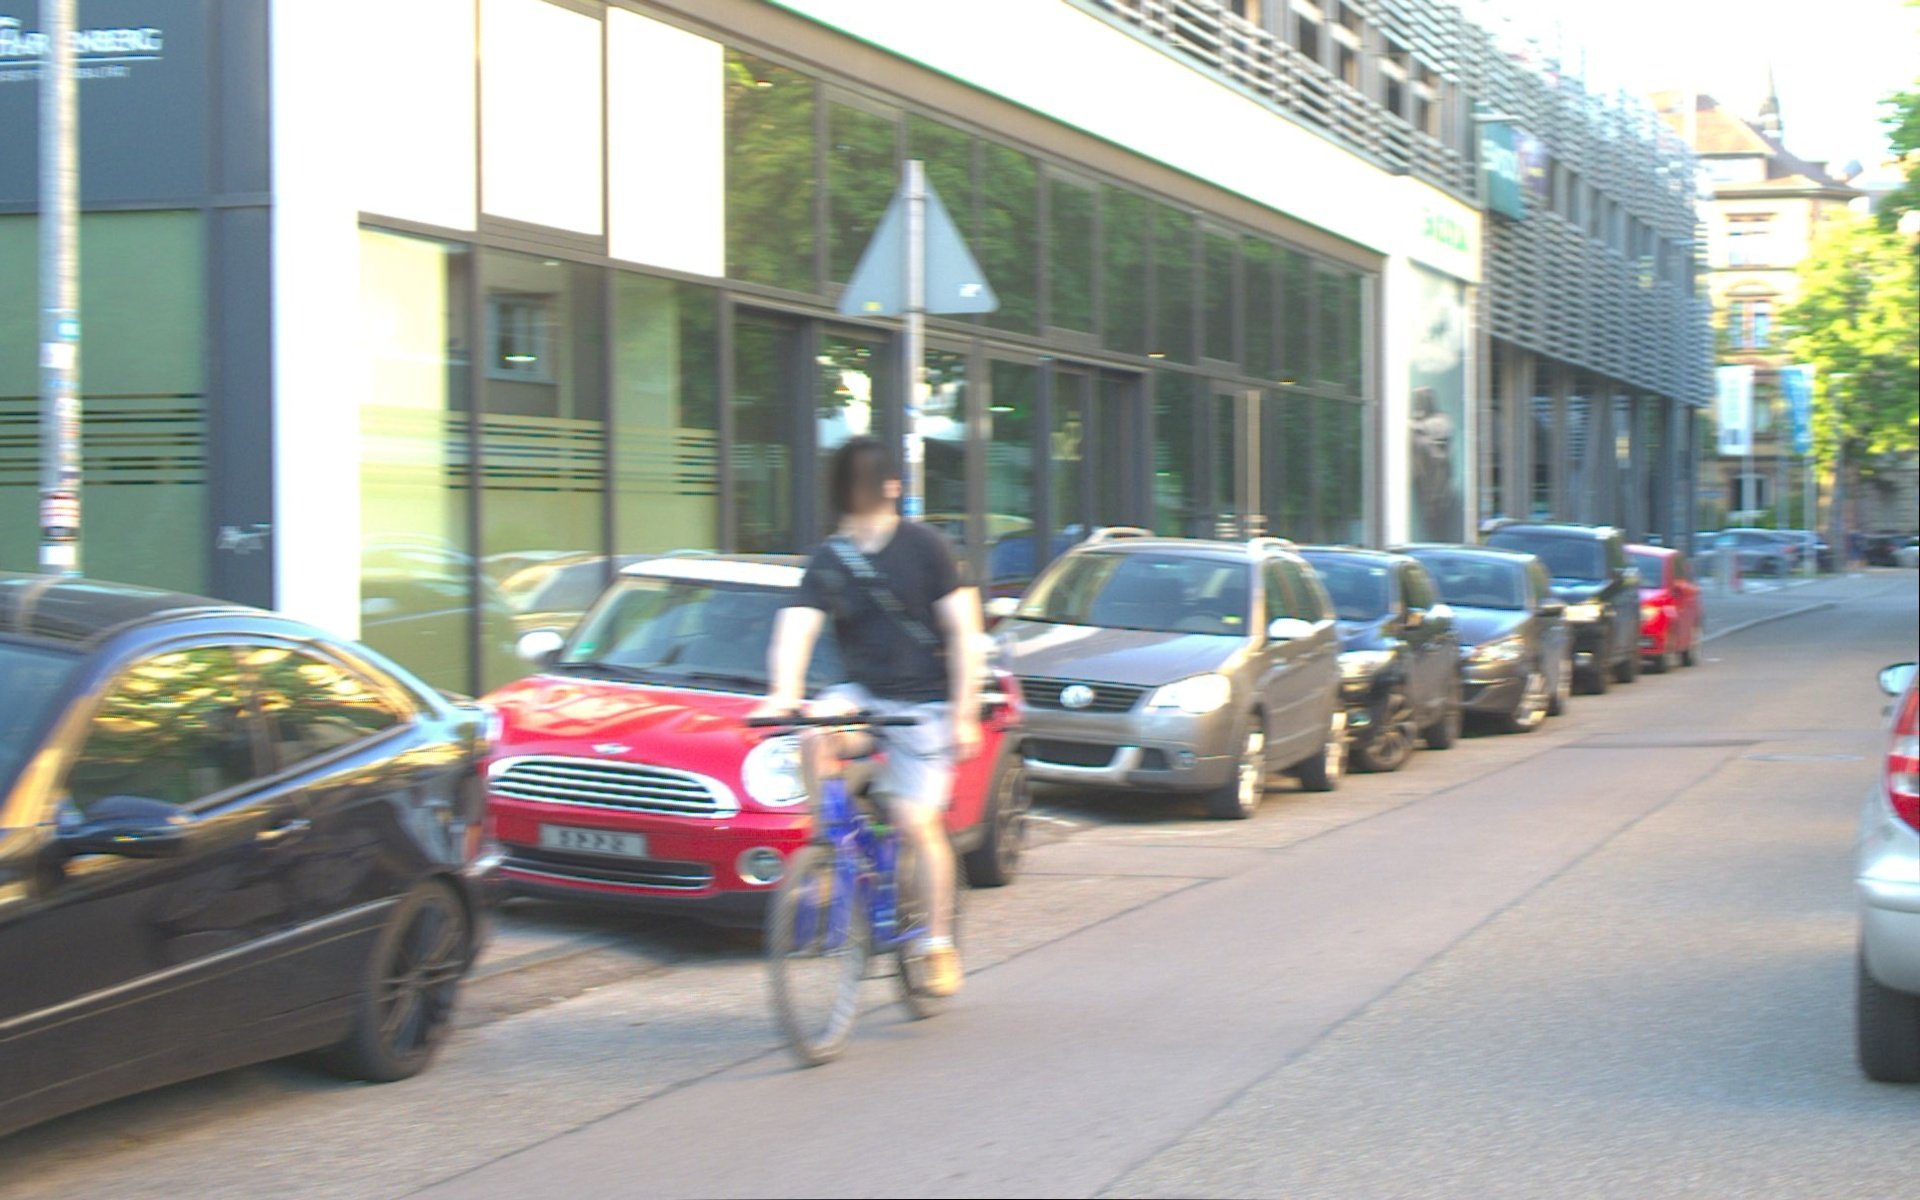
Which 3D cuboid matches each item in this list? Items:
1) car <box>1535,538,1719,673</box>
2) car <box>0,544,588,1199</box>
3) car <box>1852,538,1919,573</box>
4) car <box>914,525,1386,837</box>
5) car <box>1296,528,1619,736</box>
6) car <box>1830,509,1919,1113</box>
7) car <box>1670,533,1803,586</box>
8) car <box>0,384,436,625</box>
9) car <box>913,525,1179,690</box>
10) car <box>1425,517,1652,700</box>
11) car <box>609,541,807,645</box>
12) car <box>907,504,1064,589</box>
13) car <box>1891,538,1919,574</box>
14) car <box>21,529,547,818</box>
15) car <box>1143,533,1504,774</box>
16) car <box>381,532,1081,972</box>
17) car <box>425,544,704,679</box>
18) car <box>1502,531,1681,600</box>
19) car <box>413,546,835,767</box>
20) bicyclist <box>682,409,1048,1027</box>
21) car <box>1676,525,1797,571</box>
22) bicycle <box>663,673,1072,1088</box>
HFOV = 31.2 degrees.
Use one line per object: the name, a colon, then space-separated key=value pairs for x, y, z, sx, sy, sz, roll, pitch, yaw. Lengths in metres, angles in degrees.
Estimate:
car: x=7.952 y=0.032 z=40.786 sx=1.699 sy=1.501 sz=3.787 roll=0 pitch=1 yaw=18
car: x=-2.662 y=0.649 z=9.020 sx=1.663 sy=1.411 sz=4.410 roll=5 pitch=3 yaw=17
car: x=40.338 y=-1.951 z=149.697 sx=1.654 sy=1.426 sz=3.897 roll=0 pitch=2 yaw=-6
car: x=1.213 y=0.380 z=20.053 sx=1.663 sy=1.492 sz=3.881 roll=5 pitch=3 yaw=19
car: x=4.332 y=0.209 z=29.405 sx=1.939 sy=1.591 sz=4.201 roll=0 pitch=2 yaw=20
car: x=3.728 y=0.498 z=10.558 sx=1.811 sy=1.570 sz=3.881 roll=0 pitch=1 yaw=18
car: x=25.637 y=-1.349 z=113.416 sx=4.132 sy=1.612 sz=1.912 roll=2 pitch=2 yaw=16
car: x=-5.538 y=-0.702 z=25.693 sx=1.699 sy=1.653 sz=3.735 roll=0 pitch=1 yaw=18
car: x=1.000 y=0.034 z=37.180 sx=1.699 sy=1.653 sz=4.406 roll=0 pitch=1 yaw=18
car: x=6.038 y=0.035 z=35.533 sx=1.699 sy=1.750 sz=4.399 roll=0 pitch=1 yaw=18
car: x=-3.233 y=-0.114 z=44.589 sx=1.421 sy=1.250 sz=3.211 roll=0 pitch=2 yaw=18
car: x=0.435 y=-0.856 z=53.683 sx=1.421 sy=1.250 sz=3.523 roll=0 pitch=2 yaw=18
car: x=40.782 y=-1.841 z=144.971 sx=1.654 sy=1.426 sz=4.168 roll=0 pitch=2 yaw=-4
car: x=-4.170 y=0.388 z=21.839 sx=1.594 sy=1.644 sz=3.873 roll=0 pitch=1 yaw=18
car: x=2.674 y=0.307 z=24.472 sx=1.730 sy=1.398 sz=4.003 roll=5 pitch=3 yaw=17
car: x=-0.785 y=0.501 z=14.332 sx=1.663 sy=1.406 sz=3.925 roll=5 pitch=3 yaw=14
car: x=-4.470 y=0.096 z=39.440 sx=1.699 sy=1.429 sz=3.917 roll=0 pitch=1 yaw=18
car: x=14.993 y=-0.812 z=81.567 sx=3.990 sy=1.580 sz=1.858 roll=0 pitch=-1 yaw=16
car: x=-2.472 y=0.373 z=26.400 sx=1.699 sy=1.509 sz=4.189 roll=0 pitch=1 yaw=18
bicyclist: x=-0.271 y=0.333 z=10.608 sx=0.859 sy=1.802 sz=1.016 roll=0 pitch=1 yaw=14
car: x=27.271 y=-1.850 z=120.643 sx=4.048 sy=1.470 sz=1.919 roll=2 pitch=2 yaw=14
bicycle: x=-0.238 y=0.815 z=10.606 sx=0.760 sy=1.093 sz=1.863 roll=-2 pitch=0 yaw=14
